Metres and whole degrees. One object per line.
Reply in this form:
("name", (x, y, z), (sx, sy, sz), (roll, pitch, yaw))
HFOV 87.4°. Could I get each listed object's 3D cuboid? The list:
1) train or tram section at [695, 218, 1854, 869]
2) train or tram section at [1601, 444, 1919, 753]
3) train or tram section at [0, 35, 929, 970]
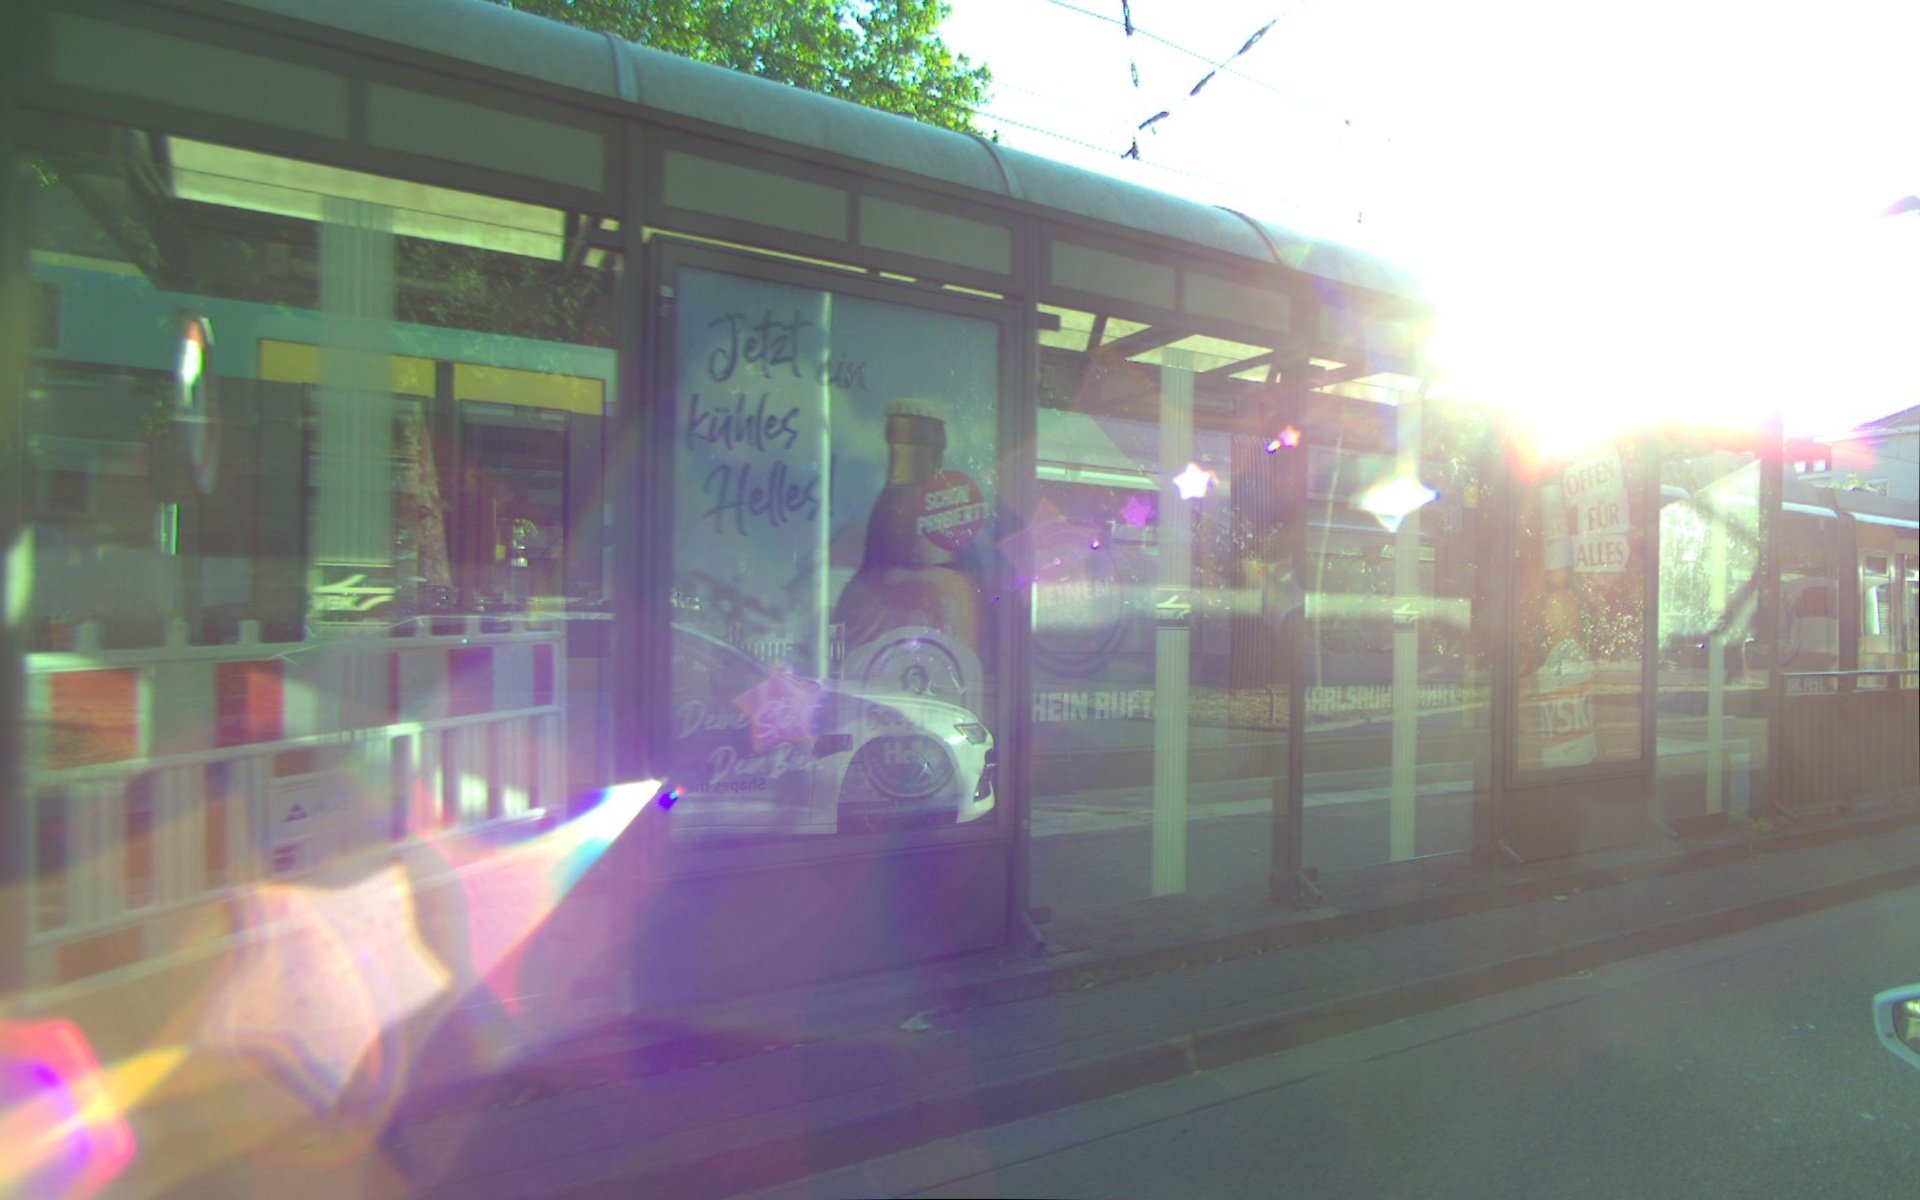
("train or tram section", (4.109, -0.162, 9.759), (12.625, 3.596, 2.718), (1, -1, -28))
("train or tram section", (15.296, 0.136, 15.895), (13.167, 3.566, 2.630), (1, -1, -28))
("train or tram section", (-6.671, -0.427, 3.834), (13.229, 3.580, 2.838), (1, -1, -28))
